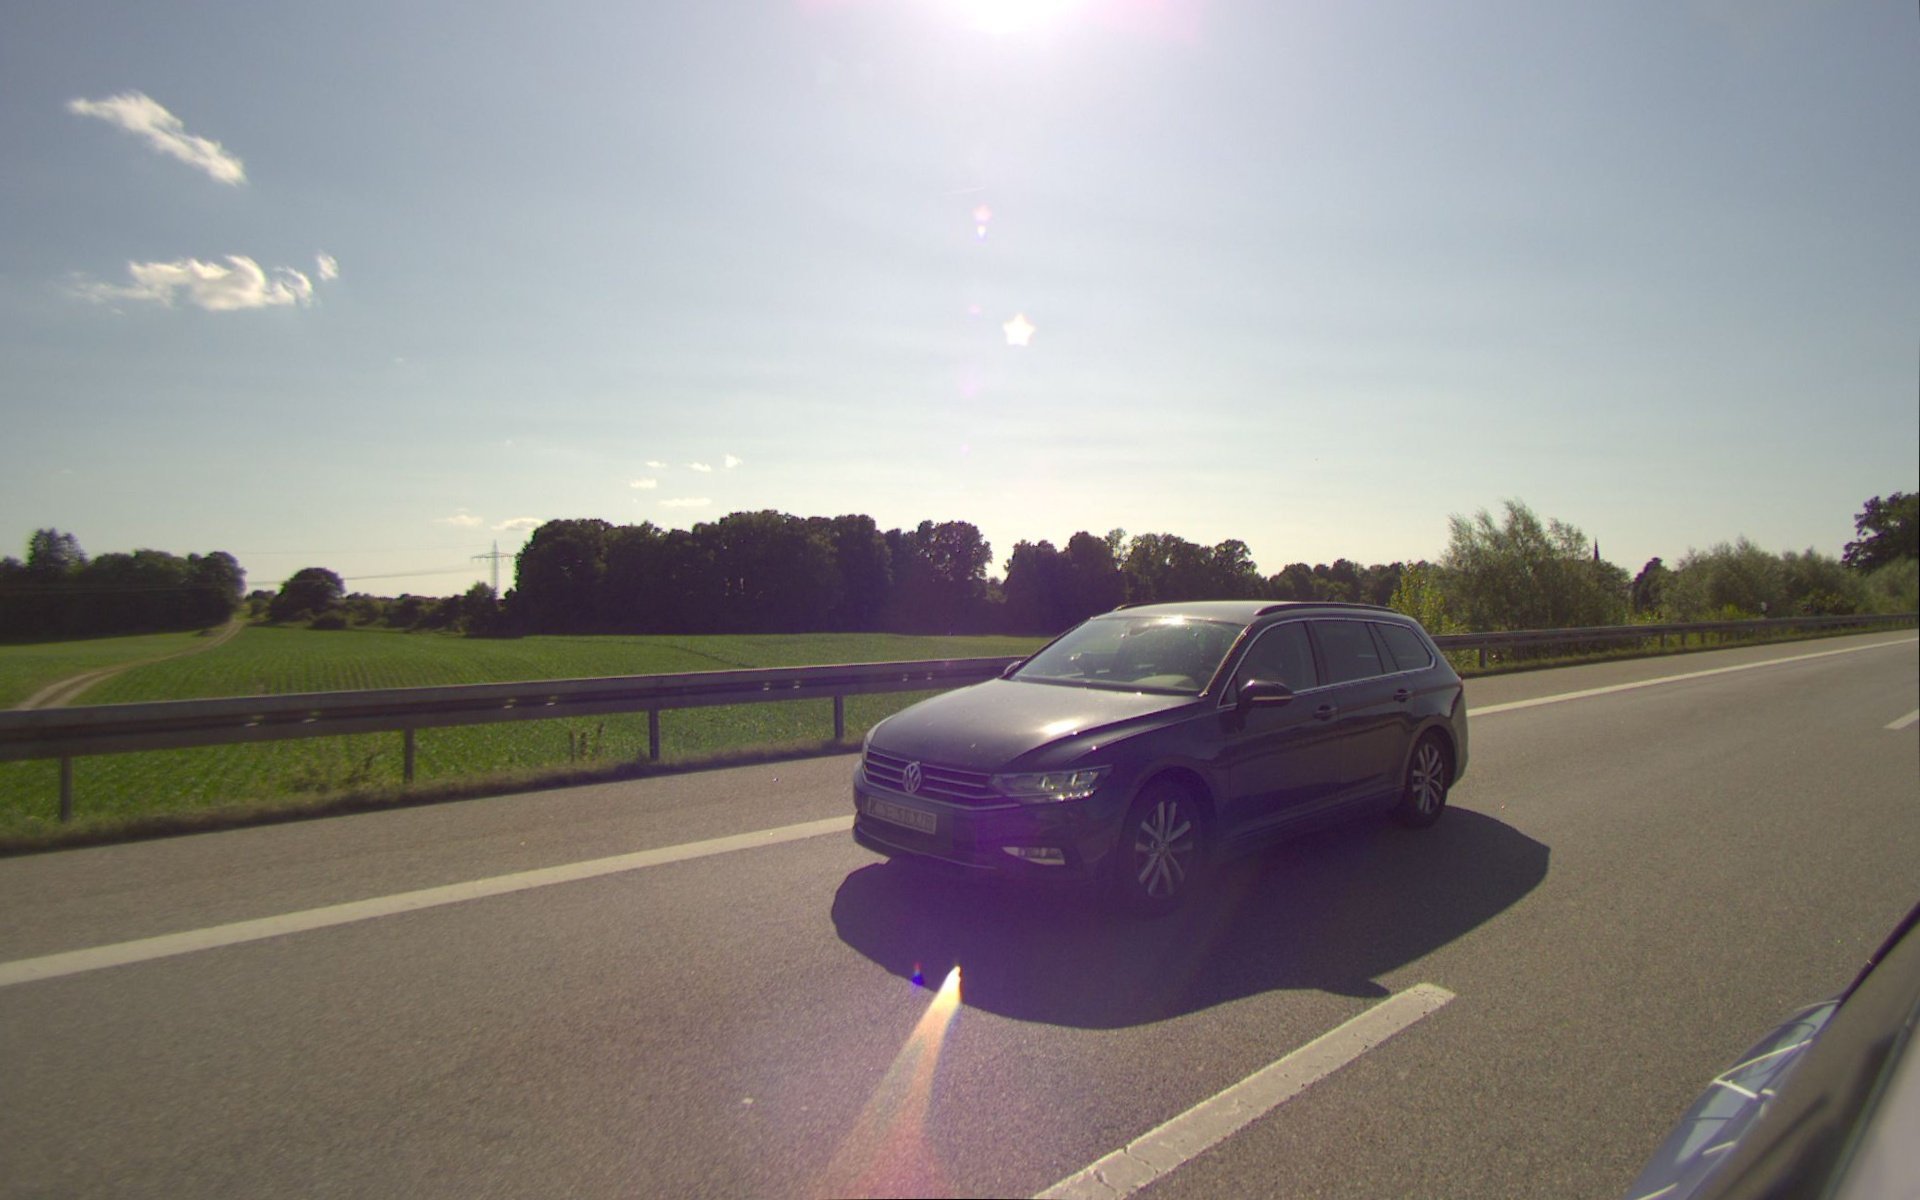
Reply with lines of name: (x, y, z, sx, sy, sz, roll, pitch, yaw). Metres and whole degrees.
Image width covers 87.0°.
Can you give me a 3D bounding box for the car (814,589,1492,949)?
car: (1.423, 0.652, 6.114, 4.336, 1.417, 1.721, -1, 1, -41)
